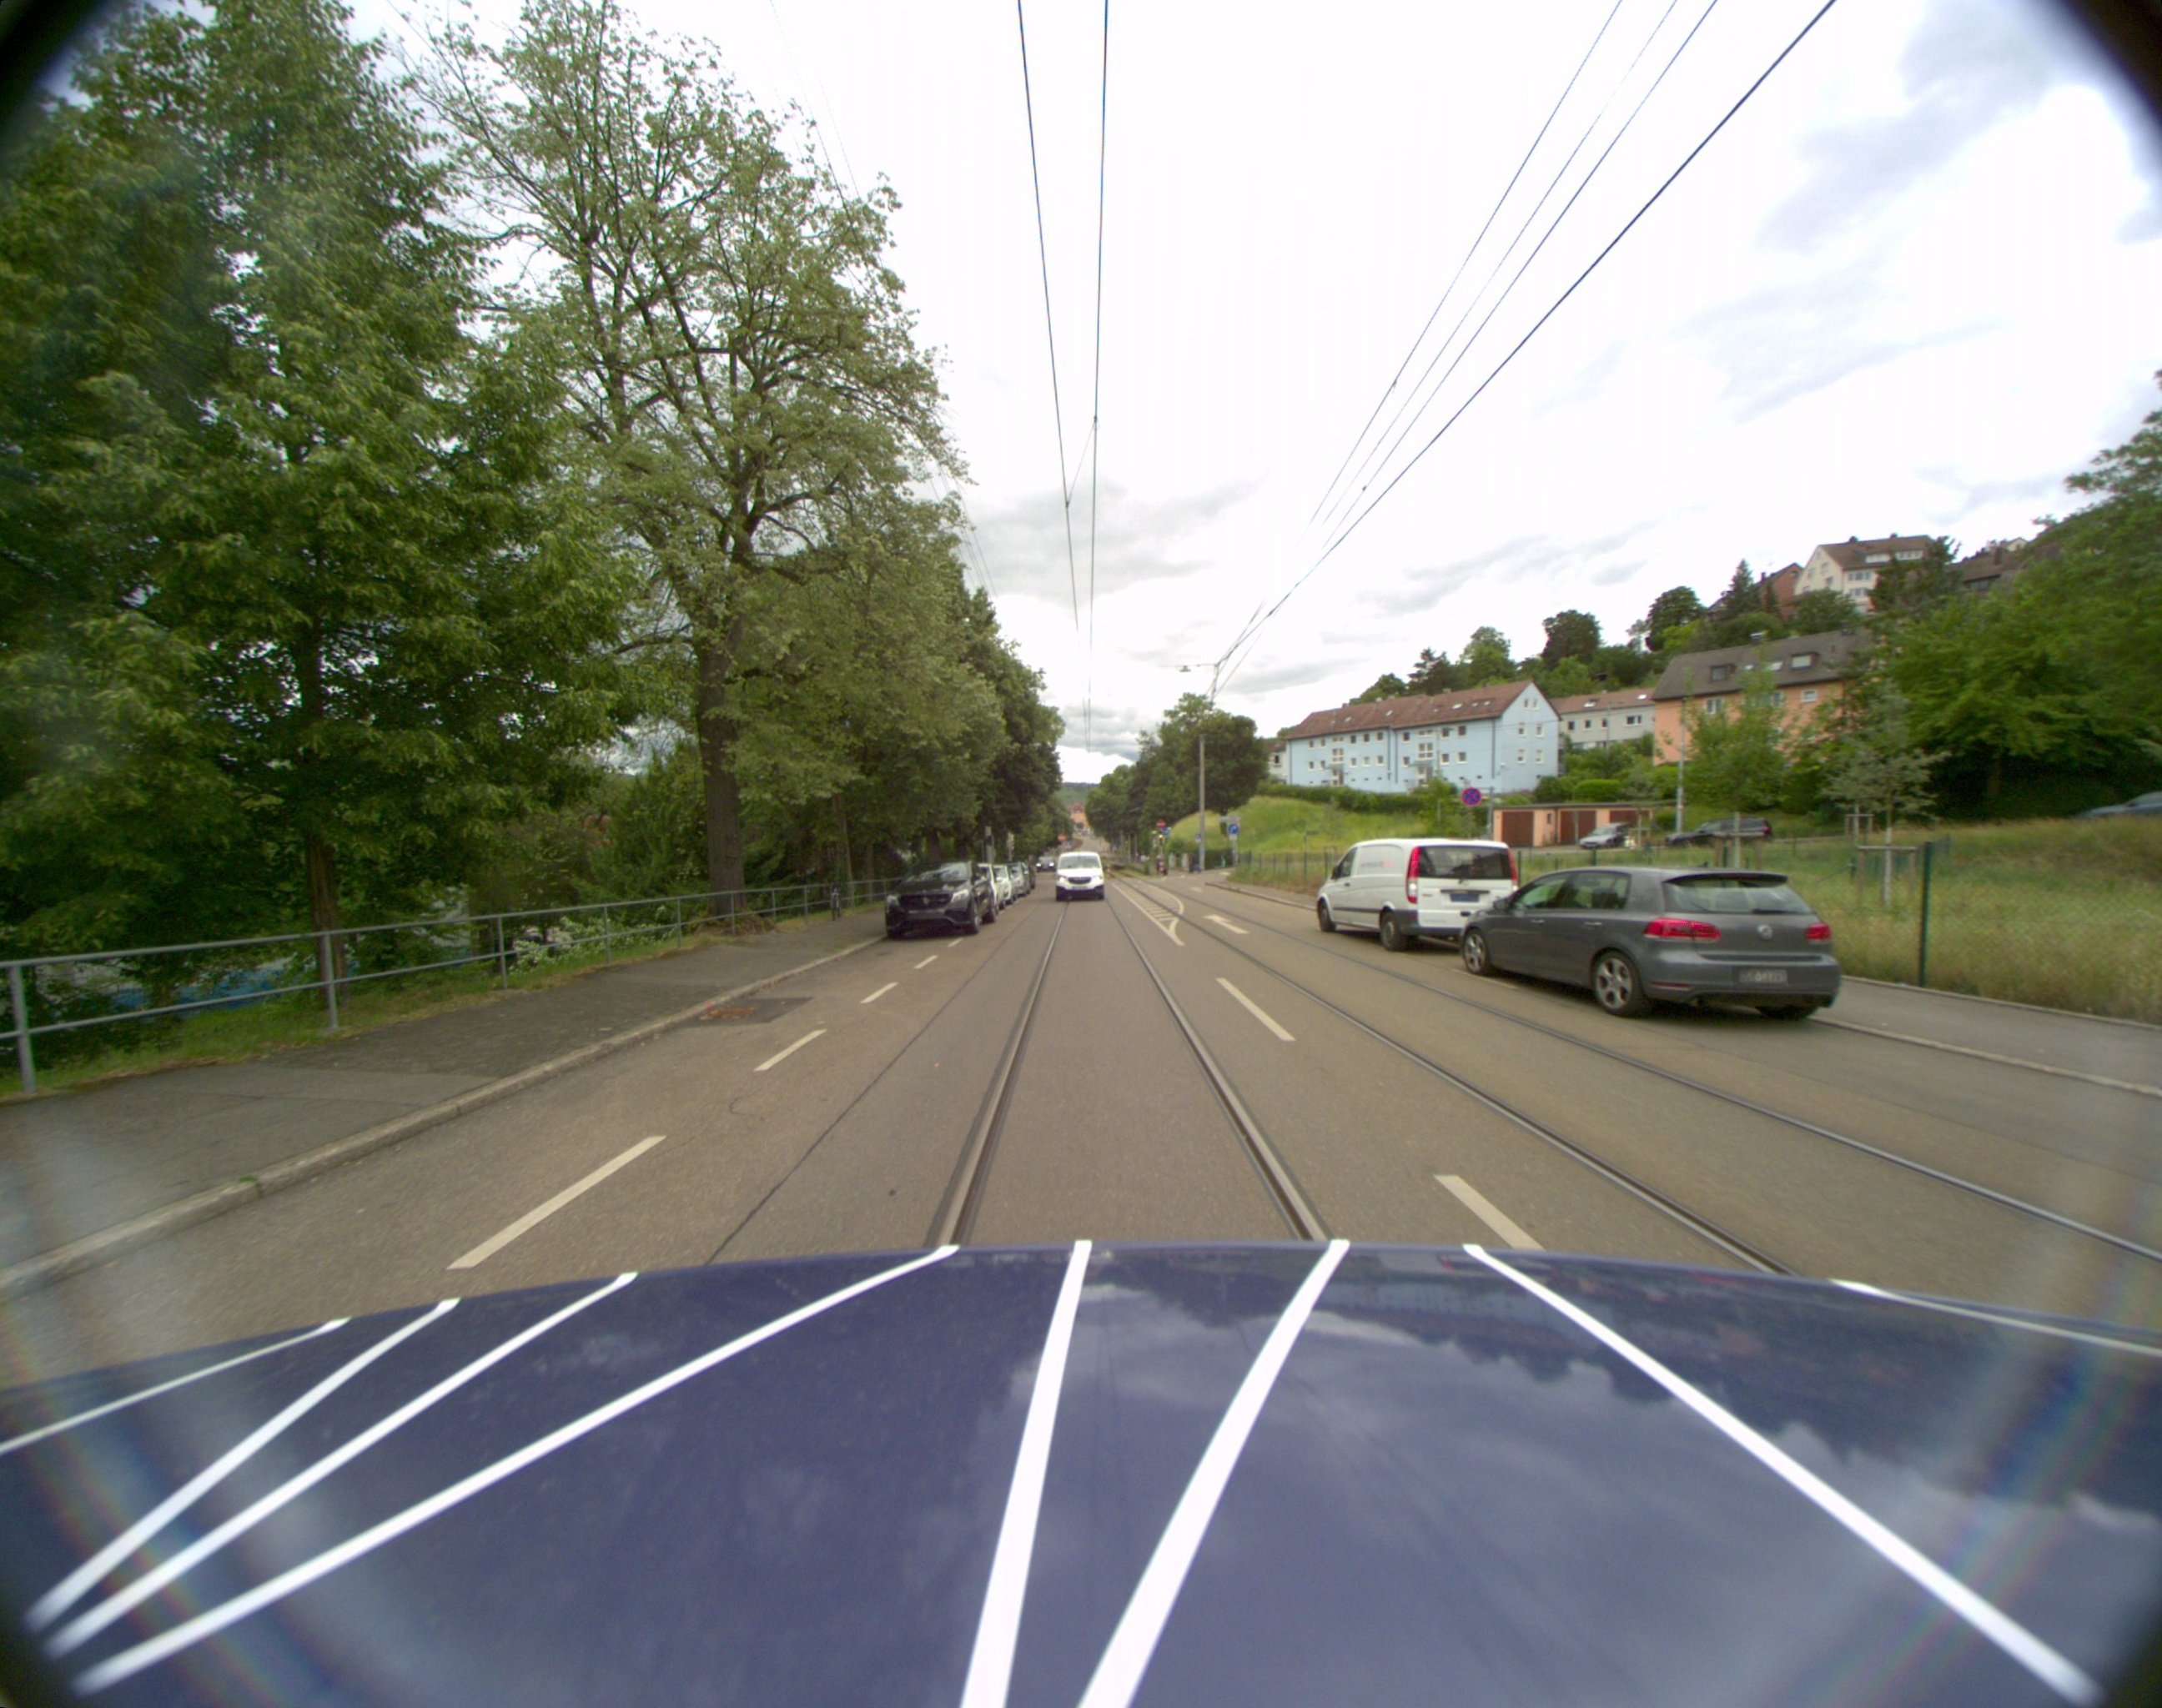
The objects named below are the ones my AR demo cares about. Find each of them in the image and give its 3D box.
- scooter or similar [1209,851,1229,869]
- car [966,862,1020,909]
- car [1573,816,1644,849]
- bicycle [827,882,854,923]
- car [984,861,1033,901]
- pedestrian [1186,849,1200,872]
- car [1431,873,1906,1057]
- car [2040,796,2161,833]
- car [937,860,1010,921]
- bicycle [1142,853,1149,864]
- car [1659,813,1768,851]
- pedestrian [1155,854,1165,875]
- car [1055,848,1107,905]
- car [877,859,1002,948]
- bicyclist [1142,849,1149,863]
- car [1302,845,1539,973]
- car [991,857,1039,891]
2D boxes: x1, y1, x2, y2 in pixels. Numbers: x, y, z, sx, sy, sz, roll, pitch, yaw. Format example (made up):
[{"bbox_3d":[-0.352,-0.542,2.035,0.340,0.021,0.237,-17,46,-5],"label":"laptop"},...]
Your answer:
[{"bbox_3d":[10.902,0.481,60.179,1.412,1.282,0.418,-6,1,1],"label":"scooter or similar"},{"bbox_3d":[-3.339,1.153,29.400,1.633,1.507,4.063,-4,0,-1],"label":"car"},{"bbox_3d":[34.211,-1.395,49.274,4.885,1.604,1.995,-8,5,-32],"label":"car"},{"bbox_3d":[-6.658,1.321,21.091,0.428,0.970,1.793,-2,1,-10],"label":"bicycle"},{"bbox_3d":[-3.253,1.180,34.793,1.738,1.566,4.364,-2,0,0],"label":"car"},{"bbox_3d":[8.672,0.503,58.802,0.901,1.740,0.743,-2,1,14],"label":"pedestrian"},{"bbox_3d":[5.936,0.980,8.595,1.901,1.424,4.511,0,0,0],"label":"car"},{"bbox_3d":[46.004,-1.753,33.603,4.120,1.503,1.986,-1,1,40],"label":"car"},{"bbox_3d":[-3.374,1.095,24.544,1.730,1.622,4.087,-5,0,-1],"label":"car"},{"bbox_3d":[7.681,0.503,90.225,0.752,1.232,2.867,-3,-1,4],"label":"bicycle"},{"bbox_3d":[34.843,-1.199,42.041,4.440,1.680,1.981,-5,-1,38],"label":"car"},{"bbox_3d":[6.075,0.819,58.421,0.752,1.565,0.757,-2,1,7],"label":"pedestrian"},{"bbox_3d":[0.073,0.779,29.281,1.810,1.910,4.478,-2,1,2],"label":"car"},{"bbox_3d":[-3.191,1.039,18.209,1.882,1.668,5.062,-4,0,1],"label":"car"},{"bbox_3d":[7.700,0.276,90.793,0.706,1.619,1.033,-3,0,3],"label":"bicyclist"},{"bbox_3d":[5.826,0.804,13.894,2.041,1.871,4.884,1,1,-1],"label":"car"},{"bbox_3d":[-3.384,0.997,39.875,1.909,1.605,4.600,-3,0,2],"label":"car"}]
